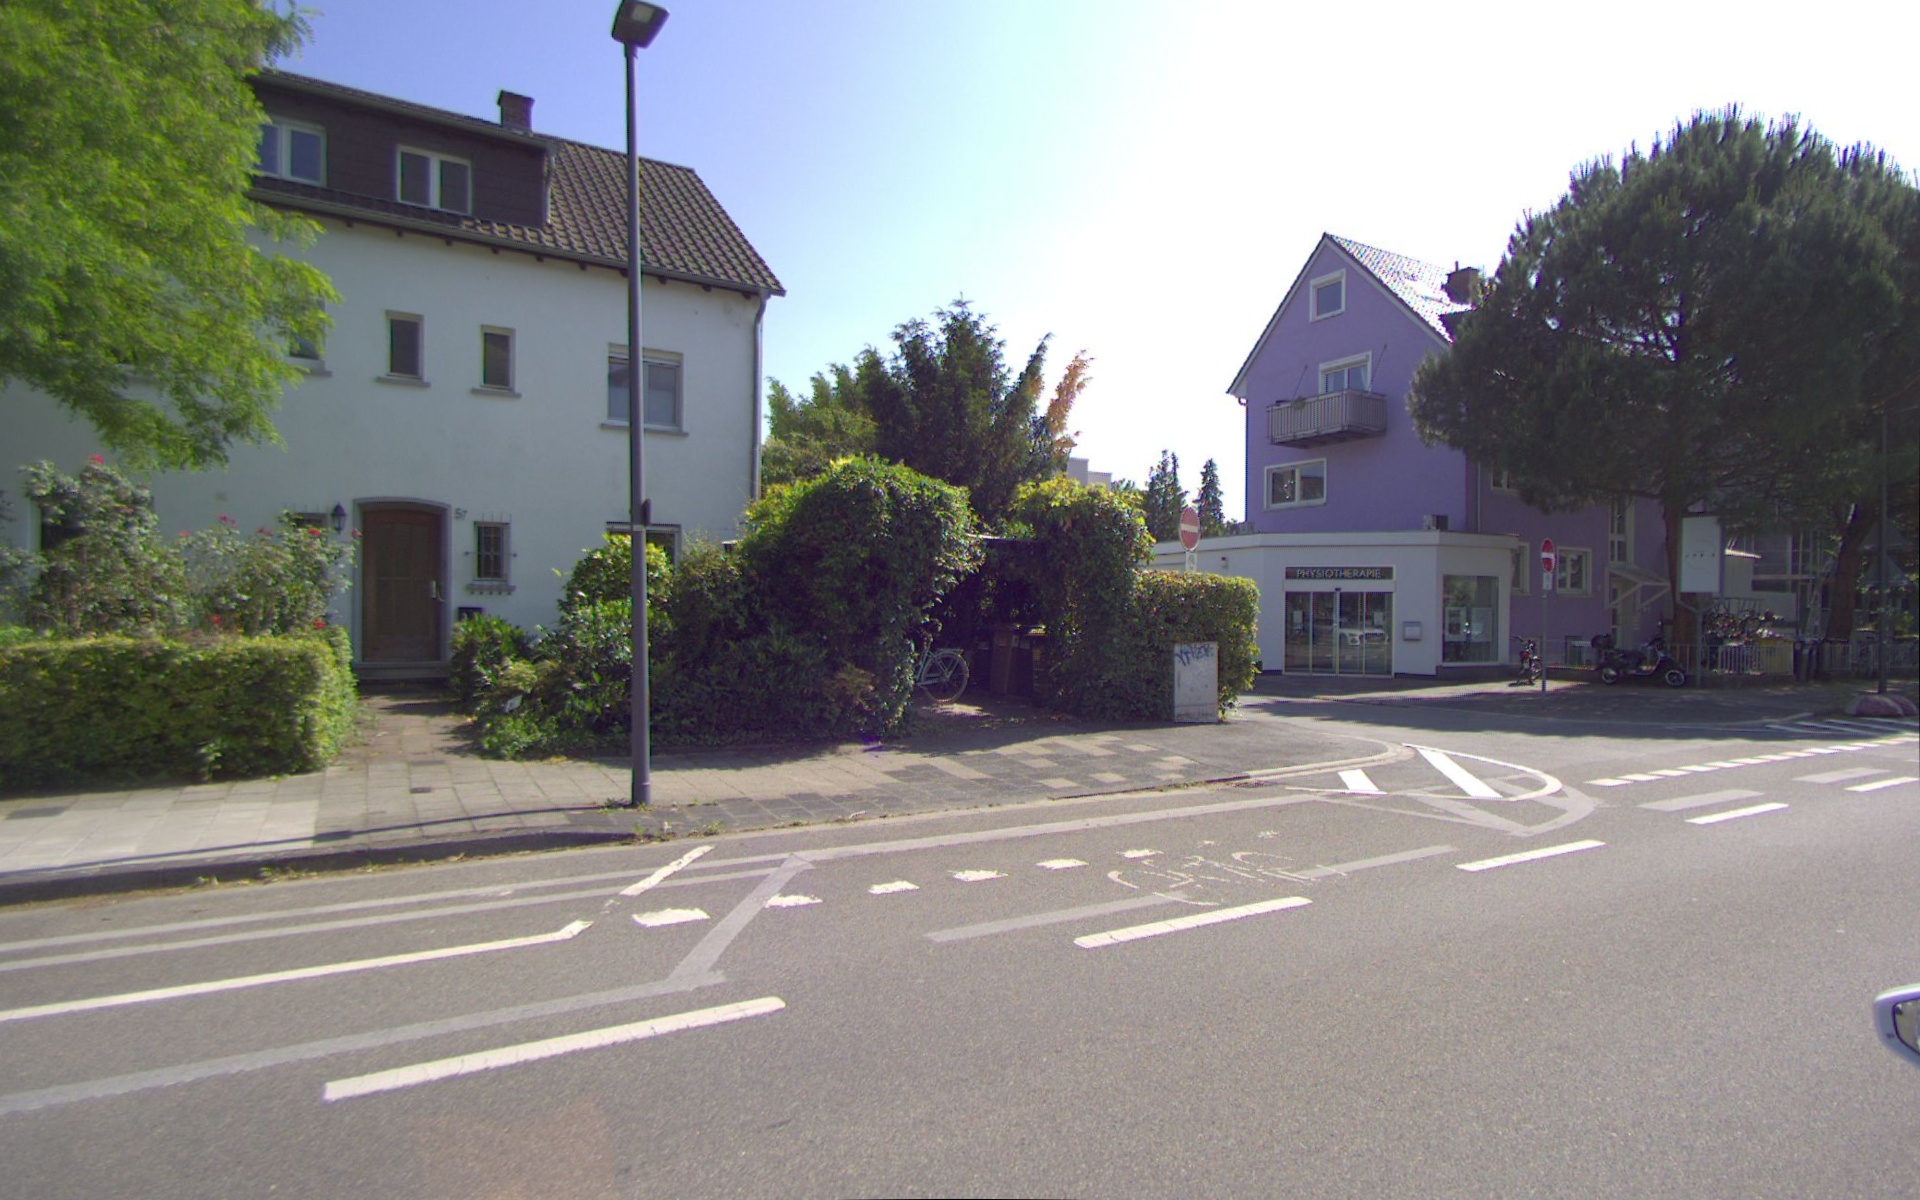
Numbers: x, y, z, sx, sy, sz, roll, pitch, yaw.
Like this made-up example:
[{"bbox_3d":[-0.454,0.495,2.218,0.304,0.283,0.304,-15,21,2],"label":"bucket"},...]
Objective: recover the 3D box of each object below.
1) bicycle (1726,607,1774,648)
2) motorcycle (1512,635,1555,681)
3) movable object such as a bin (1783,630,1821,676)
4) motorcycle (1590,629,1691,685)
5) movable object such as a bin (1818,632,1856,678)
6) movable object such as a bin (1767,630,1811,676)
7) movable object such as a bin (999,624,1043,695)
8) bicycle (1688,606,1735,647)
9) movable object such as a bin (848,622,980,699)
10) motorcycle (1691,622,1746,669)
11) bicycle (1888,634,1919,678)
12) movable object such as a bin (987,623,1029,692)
[{"bbox_3d":[23.390,0.822,29.743,1.427,1.197,0.535,1,-1,-25],"label":"bicycle"},{"bbox_3d":[13.769,1.363,24.090,0.632,1.004,2.347,0,0,36],"label":"motorcycle"},{"bbox_3d":[21.000,1.309,25.059,0.425,1.126,0.603,1,-1,-24],"label":"movable object such as a bin"},{"bbox_3d":[15.455,1.270,22.855,0.634,1.197,1.834,1,-1,-25],"label":"motorcycle"},{"bbox_3d":[22.302,1.396,25.533,0.577,1.126,0.542,1,-1,-25],"label":"movable object such as a bin"},{"bbox_3d":[20.487,1.304,24.827,0.654,1.126,0.603,1,-1,-25],"label":"movable object such as a bin"},{"bbox_3d":[0.882,0.856,14.534,0.519,1.004,0.484,1,0,-10],"label":"movable object such as a bin"},{"bbox_3d":[22.734,0.790,30.388,1.426,1.197,0.535,-1,0,-25],"label":"bicycle"},{"bbox_3d":[-0.610,0.815,13.711,1.854,1.004,0.317,1,0,-30],"label":"movable object such as a bin"},{"bbox_3d":[19.717,1.186,26.113,1.427,1.197,0.535,1,-1,-25],"label":"motorcycle"},{"bbox_3d":[25.875,1.519,27.301,1.953,1.161,0.371,1,-1,-29],"label":"bicycle"},{"bbox_3d":[0.716,0.863,15.096,0.519,1.004,0.484,1,0,-10],"label":"movable object such as a bin"}]
